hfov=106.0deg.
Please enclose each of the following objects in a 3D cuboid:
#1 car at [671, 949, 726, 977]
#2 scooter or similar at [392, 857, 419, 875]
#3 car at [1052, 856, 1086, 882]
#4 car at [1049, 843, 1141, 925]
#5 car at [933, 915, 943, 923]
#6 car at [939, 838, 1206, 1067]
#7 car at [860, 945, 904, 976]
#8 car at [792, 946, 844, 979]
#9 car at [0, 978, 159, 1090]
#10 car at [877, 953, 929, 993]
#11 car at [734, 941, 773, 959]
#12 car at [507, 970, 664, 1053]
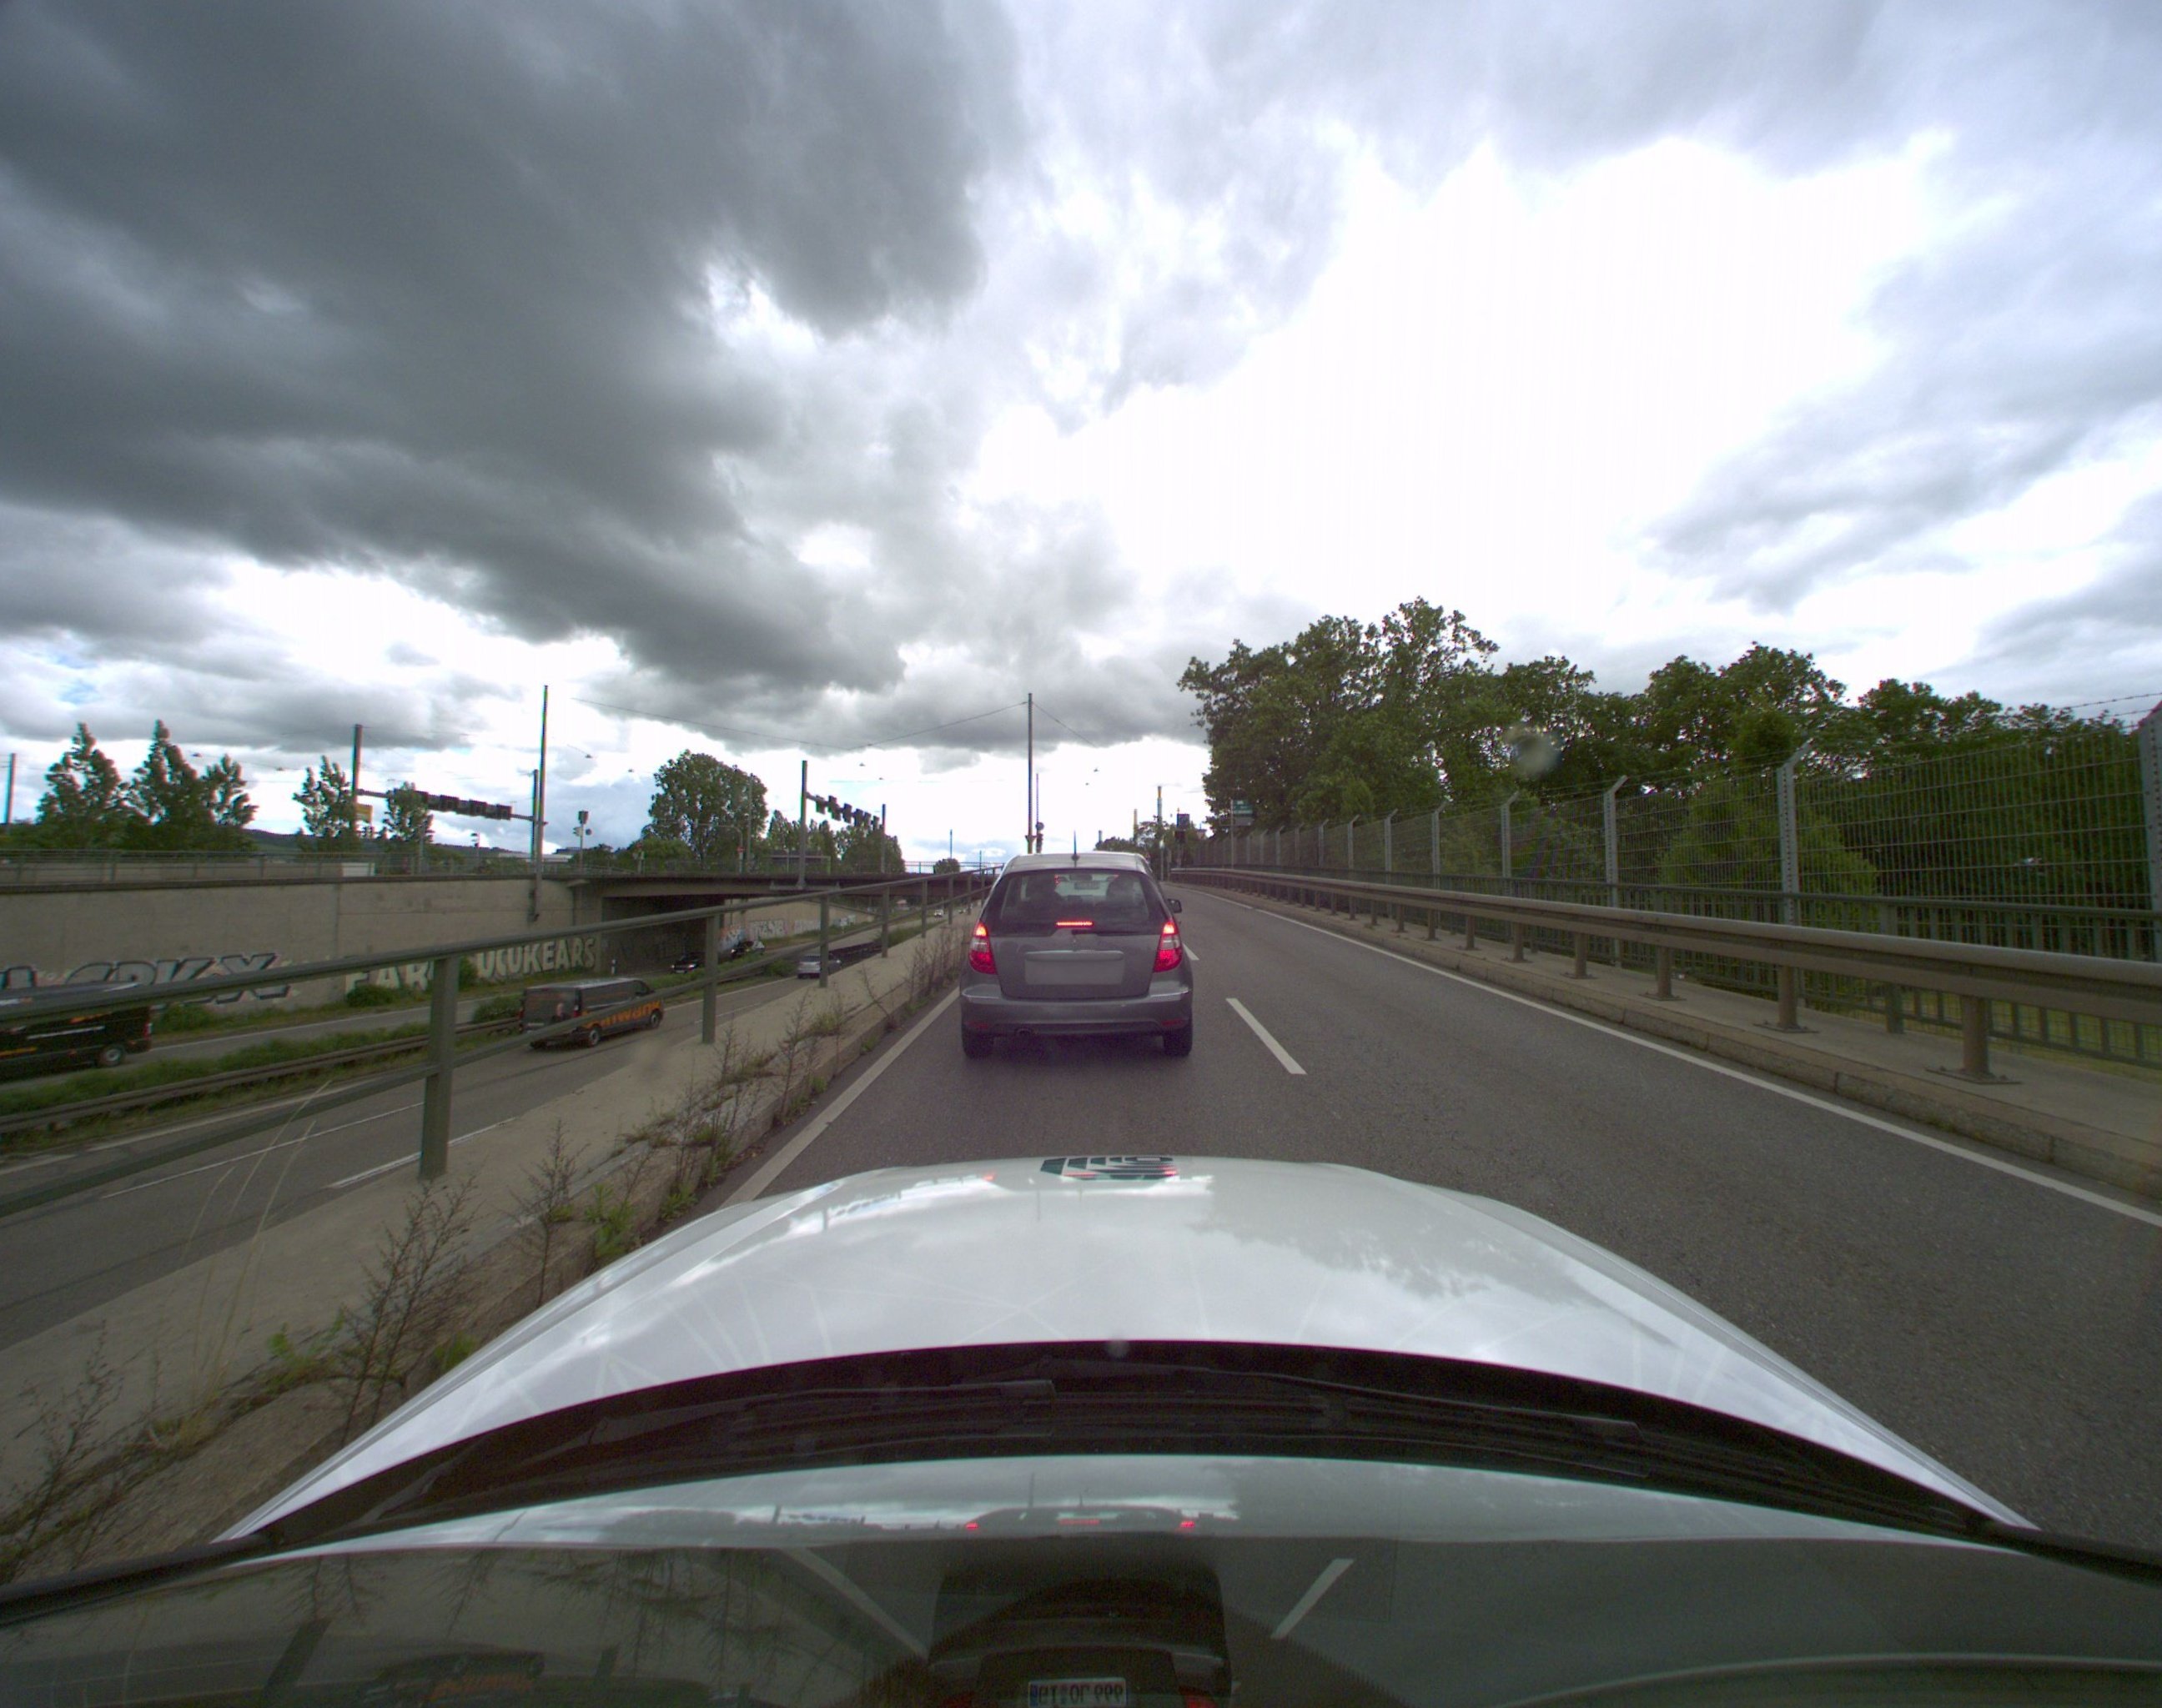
[{"bbox_3d":[-24.738,7.041,52.791,1.658,1.501,3.858,-2,-4,2],"label":"car"},{"bbox_3d":[-42.085,0.738,50.766,0.542,1.094,1.414,-1,-2,-4],"label":"scooter or similar"},{"bbox_3d":[-0.941,1.100,61.401,1.993,1.870,4.199,0,-1,-10],"label":"car"},{"bbox_3d":[0.343,0.657,19.359,1.924,1.717,4.406,0,-1,1],"label":"car"},{"bbox_3d":[-38.151,17.361,217.787,1.988,2.067,5.172,0,-3,-2],"label":"car"},{"bbox_3d":[0.001,0.690,7.676,1.851,1.588,4.002,0,0,2],"label":"car"},{"bbox_3d":[-12.544,6.707,51.577,1.893,1.622,4.174,0,-3,-2],"label":"car"},{"bbox_3d":[-15.933,6.536,49.477,1.893,1.622,4.174,0,-3,-2],"label":"car"},{"bbox_3d":[-29.053,4.860,21.509,2.236,2.547,6.113,-1,-3,1],"label":"car"},{"bbox_3d":[-9.173,6.122,42.290,1.893,1.622,4.174,0,-3,-2],"label":"car"},{"bbox_3d":[-28.993,8.479,72.146,1.705,1.376,4.110,-2,-4,1],"label":"car"},{"bbox_3d":[-15.883,5.006,26.521,1.891,2.003,4.959,-1,-3,2],"label":"car"}]
